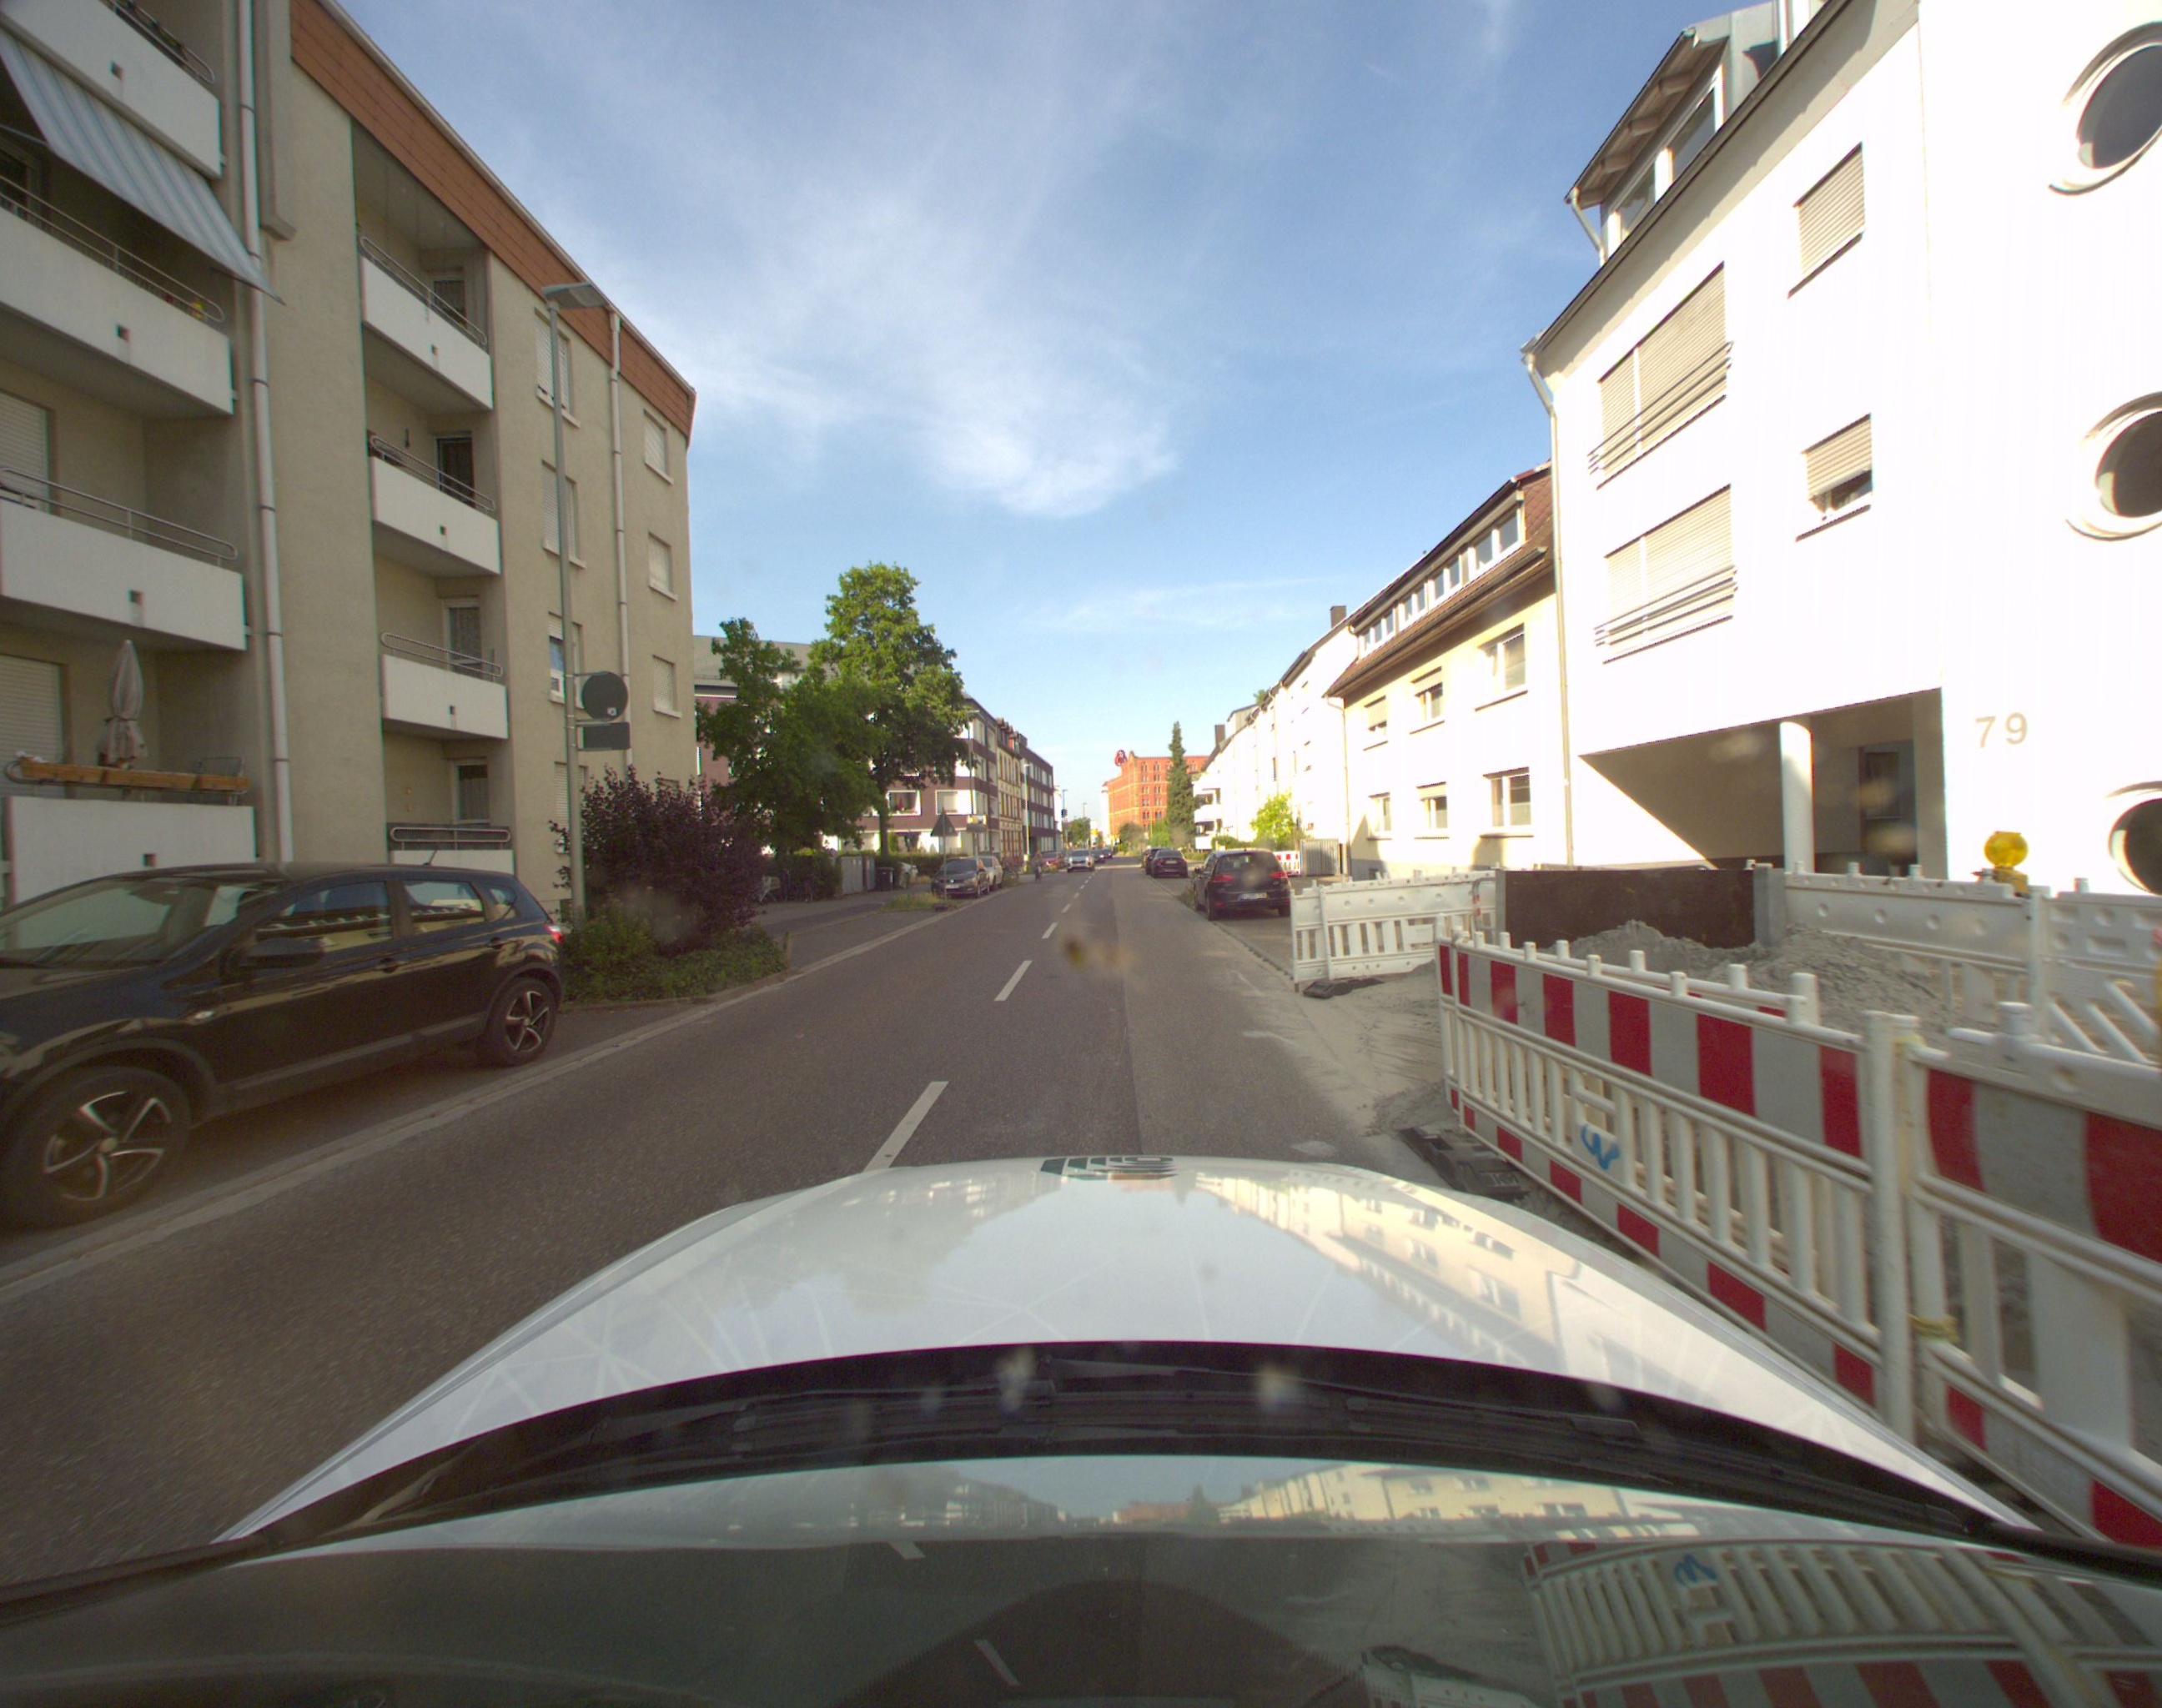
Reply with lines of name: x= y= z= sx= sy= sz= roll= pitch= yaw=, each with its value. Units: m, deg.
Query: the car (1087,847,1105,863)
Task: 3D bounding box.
car: x=1.648 y=0.073 z=86.343 sx=1.757 sy=1.616 sz=4.002 roll=-3 pitch=0 yaw=2

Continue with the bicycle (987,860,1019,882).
bicycle: x=-4.120 y=0.891 z=43.090 sx=1.581 sy=1.041 sz=0.707 roll=-2 pitch=0 yaw=-4

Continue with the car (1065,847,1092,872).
car: x=-0.130 y=0.371 z=59.283 sx=1.757 sy=1.616 sz=4.002 roll=-3 pitch=0 yaw=2

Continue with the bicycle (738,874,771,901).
bicycle: x=-11.372 y=1.158 z=28.402 sx=0.460 sy=0.851 sz=1.681 roll=-2 pitch=0 yaw=-2

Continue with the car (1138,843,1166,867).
car: x=5.627 y=0.036 z=65.058 sx=1.985 sy=1.772 sz=4.003 roll=-2 pitch=0 yaw=3

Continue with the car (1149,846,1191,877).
car: x=4.620 y=0.352 z=42.713 sx=1.852 sy=1.472 sz=4.002 roll=-3 pitch=0 yaw=2

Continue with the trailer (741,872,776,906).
trailer: x=-10.563 y=1.131 z=26.730 sx=0.579 sy=1.056 sz=0.914 roll=-2 pitch=0 yaw=18

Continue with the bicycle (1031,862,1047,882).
bicycle: x=-2.158 y=0.906 z=42.023 sx=0.606 sy=0.942 sz=1.813 roll=-2 pitch=0 yaw=3

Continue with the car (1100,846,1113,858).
car: x=3.620 y=-0.324 z=116.093 sx=1.757 sy=1.616 sz=4.002 roll=-3 pitch=0 yaw=2

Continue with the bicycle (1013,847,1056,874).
bicycle: x=-3.311 y=0.427 z=58.183 sx=2.906 sy=1.777 sz=1.203 roll=-3 pitch=0 yaw=2

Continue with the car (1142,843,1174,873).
car: x=4.518 y=0.236 z=48.024 sx=1.595 sy=1.646 sz=3.687 roll=-3 pitch=0 yaw=2

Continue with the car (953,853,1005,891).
car: x=-4.362 y=0.733 z=35.508 sx=1.670 sy=1.501 sz=4.000 roll=-2 pitch=0 yaw=1

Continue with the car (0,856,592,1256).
car: x=-5.223 y=0.852 z=4.989 sx=1.680 sy=1.603 sz=4.372 roll=-2 pitch=0 yaw=2

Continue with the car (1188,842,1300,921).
car: x=3.509 y=0.537 z=18.221 sx=1.822 sy=1.482 sz=3.946 roll=-3 pitch=0 yaw=3

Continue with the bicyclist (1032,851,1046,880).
bicyclist: x=-2.167 y=0.582 z=42.093 sx=0.588 sy=1.442 sz=0.751 roll=-2 pitch=0 yaw=3

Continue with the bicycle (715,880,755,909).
bicycle: x=-11.013 y=1.283 z=25.930 sx=1.435 sy=0.851 sz=0.466 roll=0 pitch=1 yaw=35

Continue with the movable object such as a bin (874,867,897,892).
movable object such as a bin: x=-8.629 y=1.113 z=35.938 sx=0.749 sy=1.040 sz=0.817 roll=1 pitch=0 yaw=2

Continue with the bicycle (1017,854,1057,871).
bicycle: x=-3.221 y=0.626 z=60.098 sx=2.761 sy=1.144 sz=1.144 roll=-3 pitch=0 yaw=2

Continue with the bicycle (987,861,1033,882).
bicycle: x=-3.676 y=0.912 z=42.364 sx=2.335 sy=0.970 sz=0.707 roll=-2 pitch=0 yaw=-4

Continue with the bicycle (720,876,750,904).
bicycle: x=-11.484 y=1.196 z=26.998 sx=0.466 sy=0.881 sz=1.224 roll=-2 pitch=0 yaw=-45

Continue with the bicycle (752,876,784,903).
bicycle: x=-10.867 y=1.209 z=28.320 sx=0.460 sy=0.851 sz=1.681 roll=-2 pitch=0 yaw=-2

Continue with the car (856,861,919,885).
car: x=-11.946 y=1.177 z=50.297 sx=3.469 sy=1.288 sz=1.649 roll=-3 pitch=0 yaw=-30

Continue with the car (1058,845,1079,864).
car: x=-1.331 y=0.074 z=87.984 sx=1.985 sy=1.907 sz=4.003 roll=-3 pitch=0 yaw=3

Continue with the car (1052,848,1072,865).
car: x=-2.214 y=0.254 z=94.449 sx=1.986 sy=1.881 sz=4.003 roll=-2 pitch=0 yaw=2

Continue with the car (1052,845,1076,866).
car: x=-1.631 y=0.136 z=78.788 sx=1.985 sy=1.835 sz=3.692 roll=-3 pitch=0 yaw=3

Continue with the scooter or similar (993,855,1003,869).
scooter or similar: x=-6.754 y=0.671 z=66.268 sx=0.631 sy=1.103 sz=1.612 roll=0 pitch=0 yaw=3

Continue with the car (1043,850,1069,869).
car: x=-2.088 y=0.448 z=67.889 sx=1.833 sy=1.464 sz=3.587 roll=-2 pitch=0 yaw=2

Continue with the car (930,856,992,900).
car: x=-4.306 y=0.824 z=29.748 sx=1.568 sy=1.420 sz=3.805 roll=-2 pitch=0 yaw=1

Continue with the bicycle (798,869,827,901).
bicycle: x=-9.382 y=1.082 z=28.471 sx=0.460 sy=1.023 sz=1.681 roll=-2 pitch=0 yaw=-2

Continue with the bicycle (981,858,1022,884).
bicycle: x=-4.045 y=0.845 z=41.497 sx=1.997 sy=1.217 sz=0.707 roll=-2 pitch=0 yaw=-4

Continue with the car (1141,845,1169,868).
car: x=5.413 y=0.138 z=59.912 sx=1.757 sy=1.526 sz=4.002 roll=-3 pitch=0 yaw=2

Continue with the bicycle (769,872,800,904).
bicycle: x=-10.228 y=1.161 z=28.171 sx=0.460 sy=0.993 sz=1.681 roll=-2 pitch=0 yaw=-2
